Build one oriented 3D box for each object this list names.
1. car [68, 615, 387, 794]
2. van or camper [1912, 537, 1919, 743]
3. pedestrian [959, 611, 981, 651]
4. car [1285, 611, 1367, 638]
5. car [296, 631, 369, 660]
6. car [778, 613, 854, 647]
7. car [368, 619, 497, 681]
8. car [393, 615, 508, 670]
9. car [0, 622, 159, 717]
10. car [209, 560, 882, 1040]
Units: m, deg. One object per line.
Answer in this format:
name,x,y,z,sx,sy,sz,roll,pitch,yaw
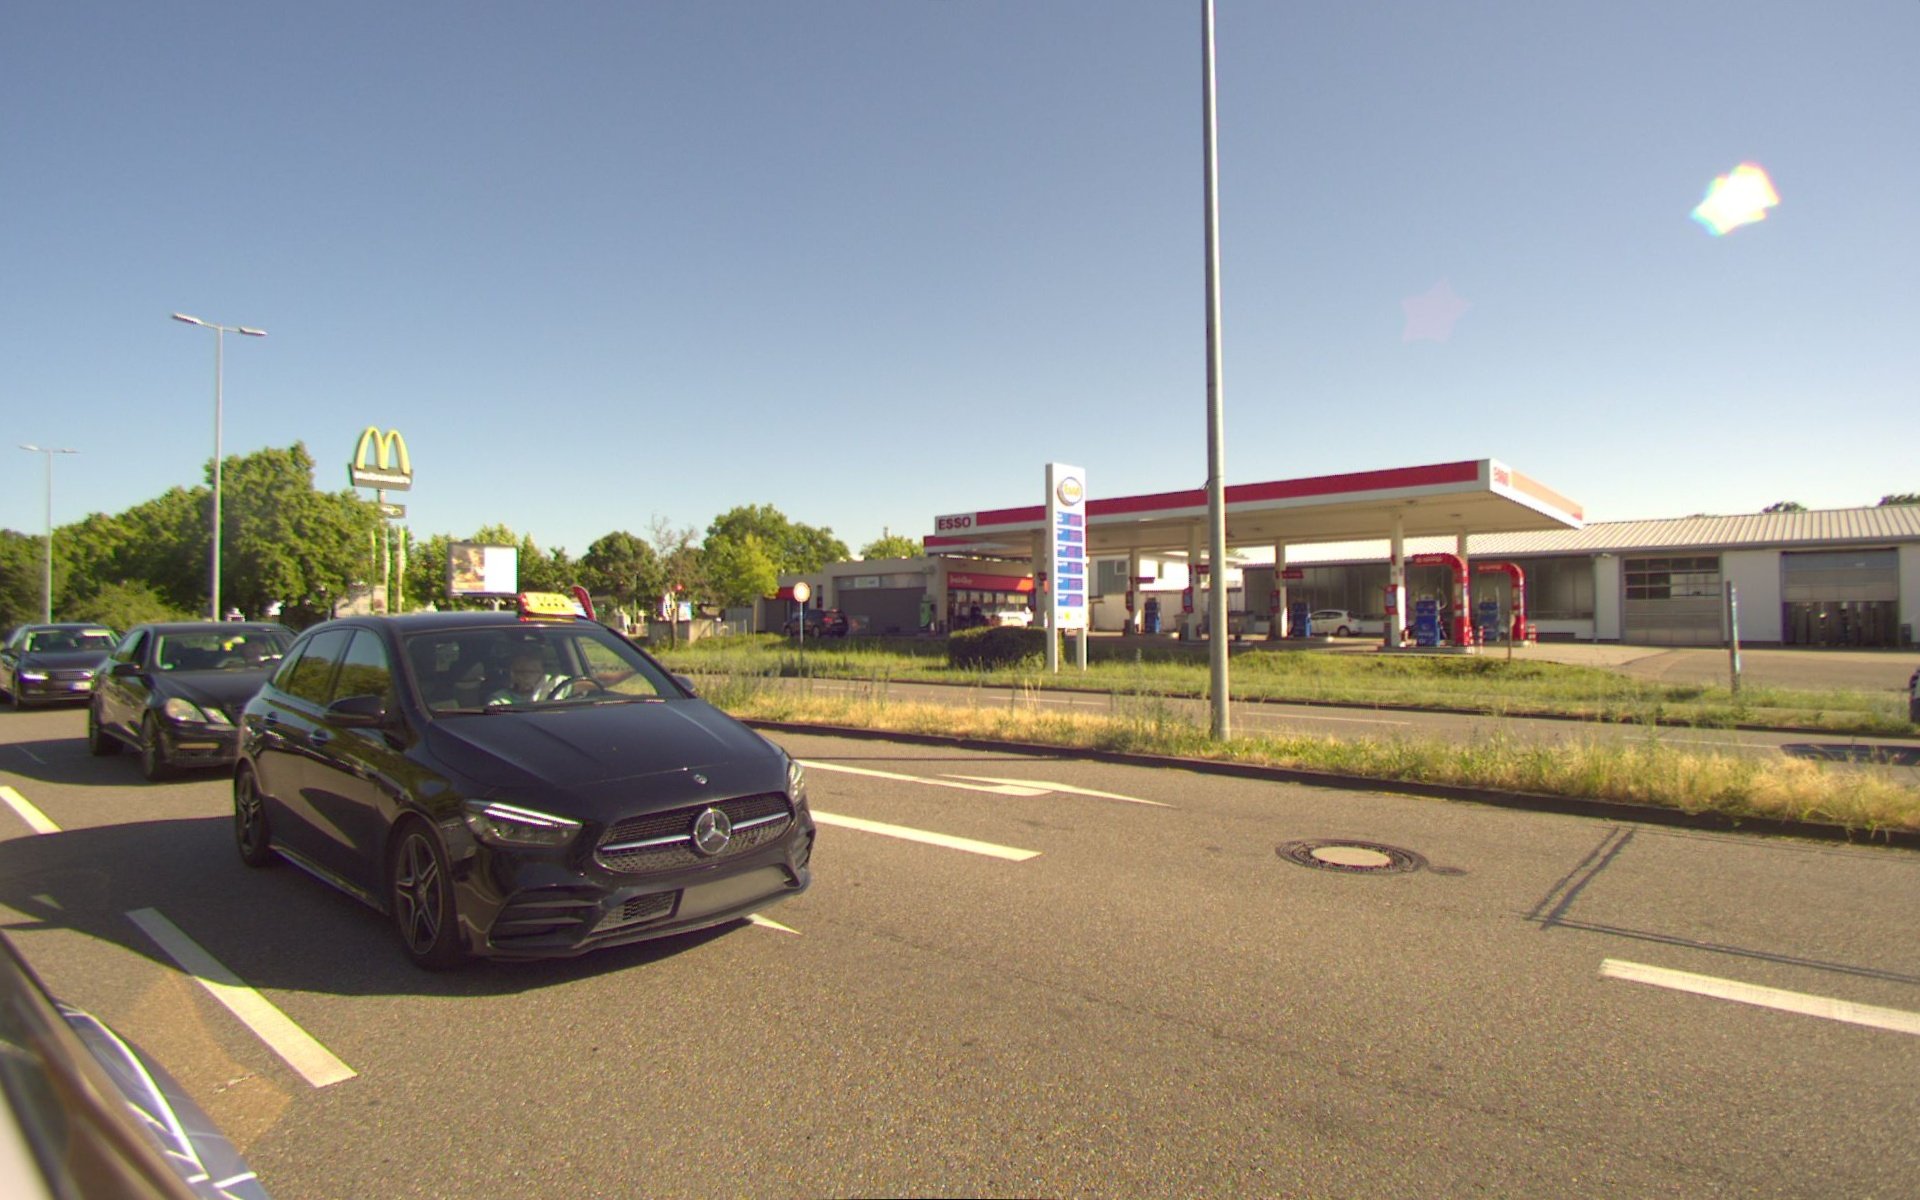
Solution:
car,-7.956,0.951,10.834,4.401,1.535,1.838,-2,-2,41
van or camper,14.936,0.518,11.432,5.954,2.671,1.972,-1,-4,41
pedestrian,0.499,1.553,51.067,0.840,2.029,0.694,-2,-2,41
car,19.830,1.326,54.879,3.844,1.450,1.730,-2,-2,39
car,-32.985,2.399,53.160,4.604,1.457,1.884,-2,-4,41
car,-7.868,1.626,55.063,4.117,1.783,1.972,-2,-1,43
car,-15.581,1.432,29.810,4.433,1.703,1.860,-2,-2,41
car,-19.936,1.649,39.515,5.018,2.029,1.975,-1,-3,37
car,-16.078,1.170,18.222,4.401,1.492,1.838,-2,-2,41
car,-2.518,0.736,5.546,4.187,1.638,1.780,-2,-2,42
